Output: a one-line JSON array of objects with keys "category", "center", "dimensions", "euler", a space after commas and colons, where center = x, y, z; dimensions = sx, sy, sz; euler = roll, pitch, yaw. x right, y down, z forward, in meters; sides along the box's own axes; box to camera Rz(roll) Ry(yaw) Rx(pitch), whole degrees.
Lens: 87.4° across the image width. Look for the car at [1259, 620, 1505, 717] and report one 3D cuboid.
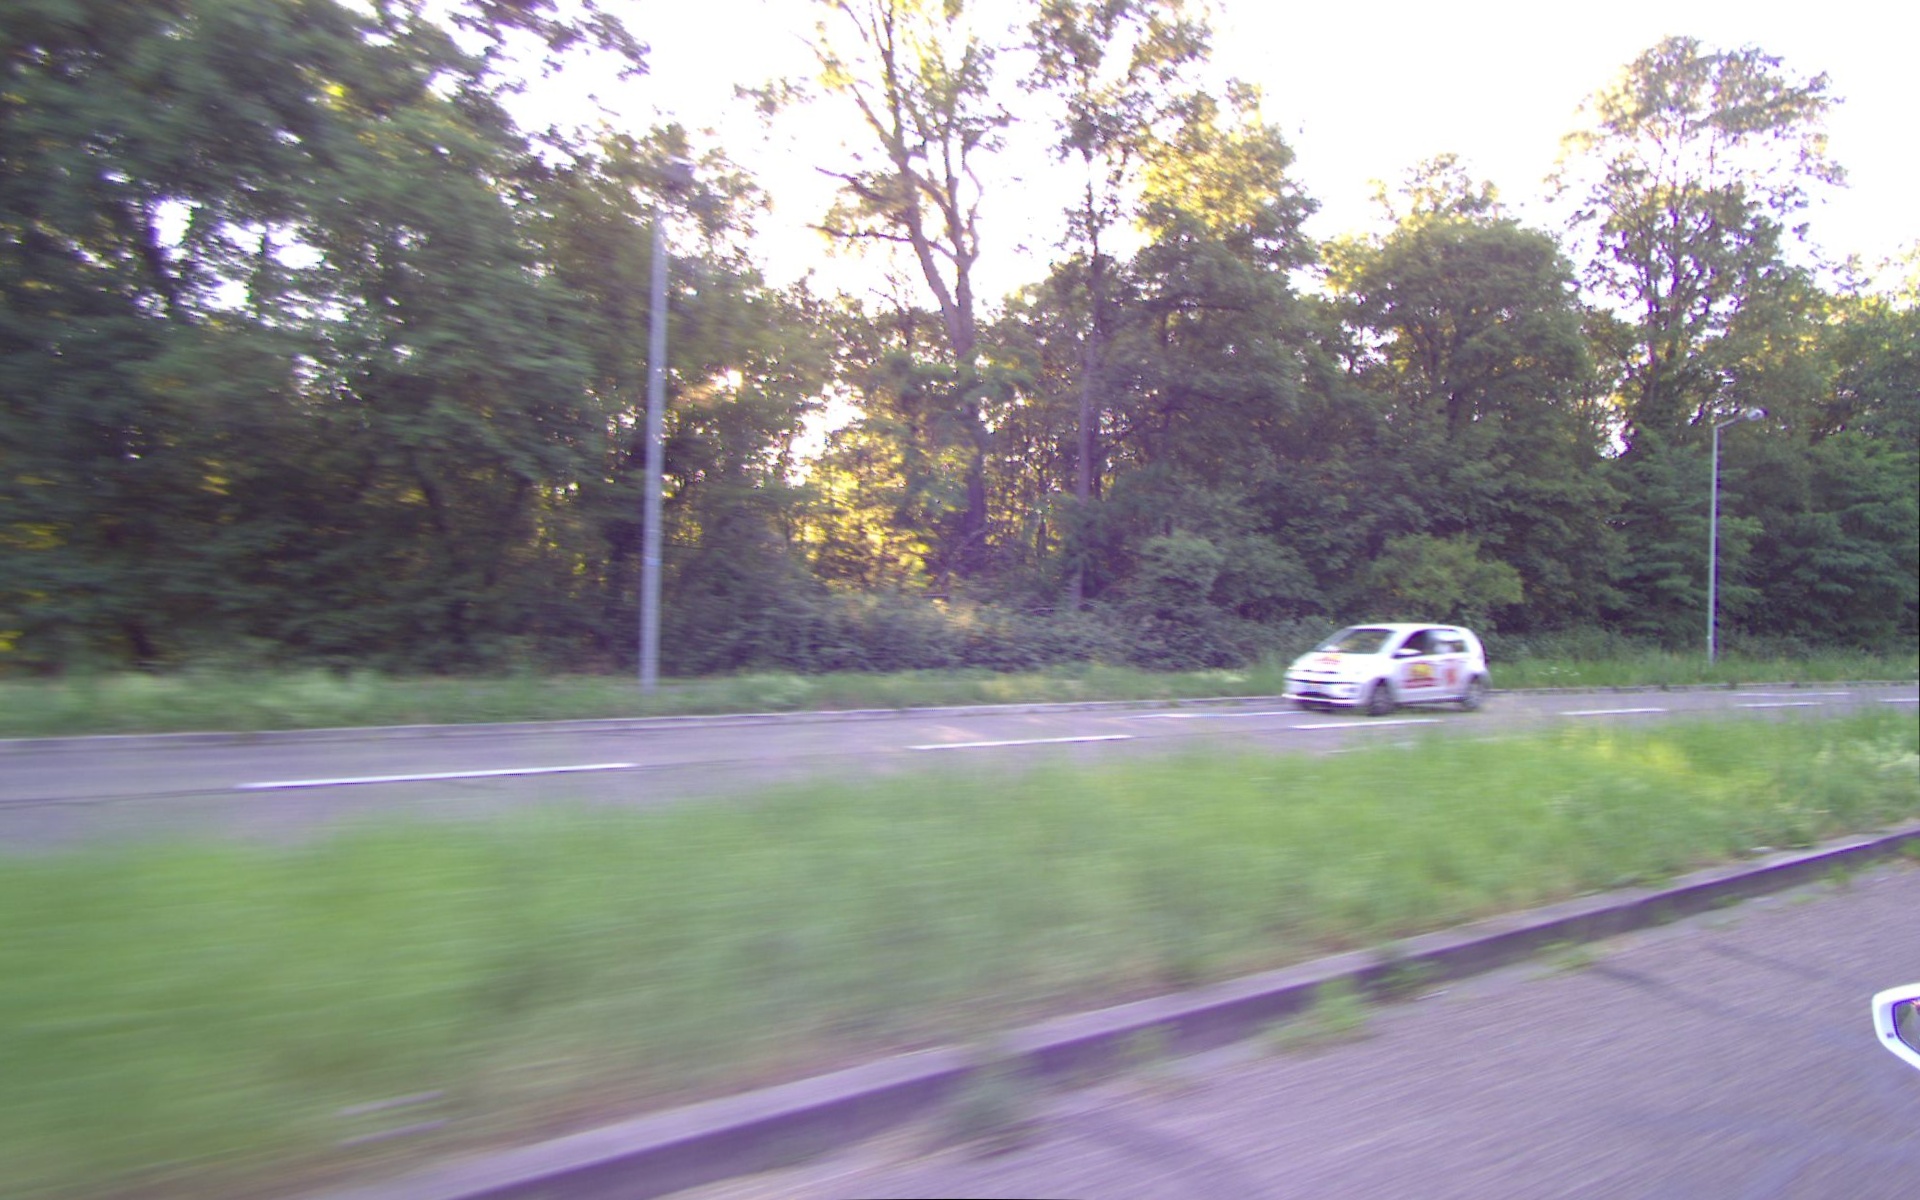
[{"category": "car", "center": [7.236, 1.167, 17.188], "dimensions": [3.765, 1.477, 1.985], "euler": [4, -2, -29]}]
